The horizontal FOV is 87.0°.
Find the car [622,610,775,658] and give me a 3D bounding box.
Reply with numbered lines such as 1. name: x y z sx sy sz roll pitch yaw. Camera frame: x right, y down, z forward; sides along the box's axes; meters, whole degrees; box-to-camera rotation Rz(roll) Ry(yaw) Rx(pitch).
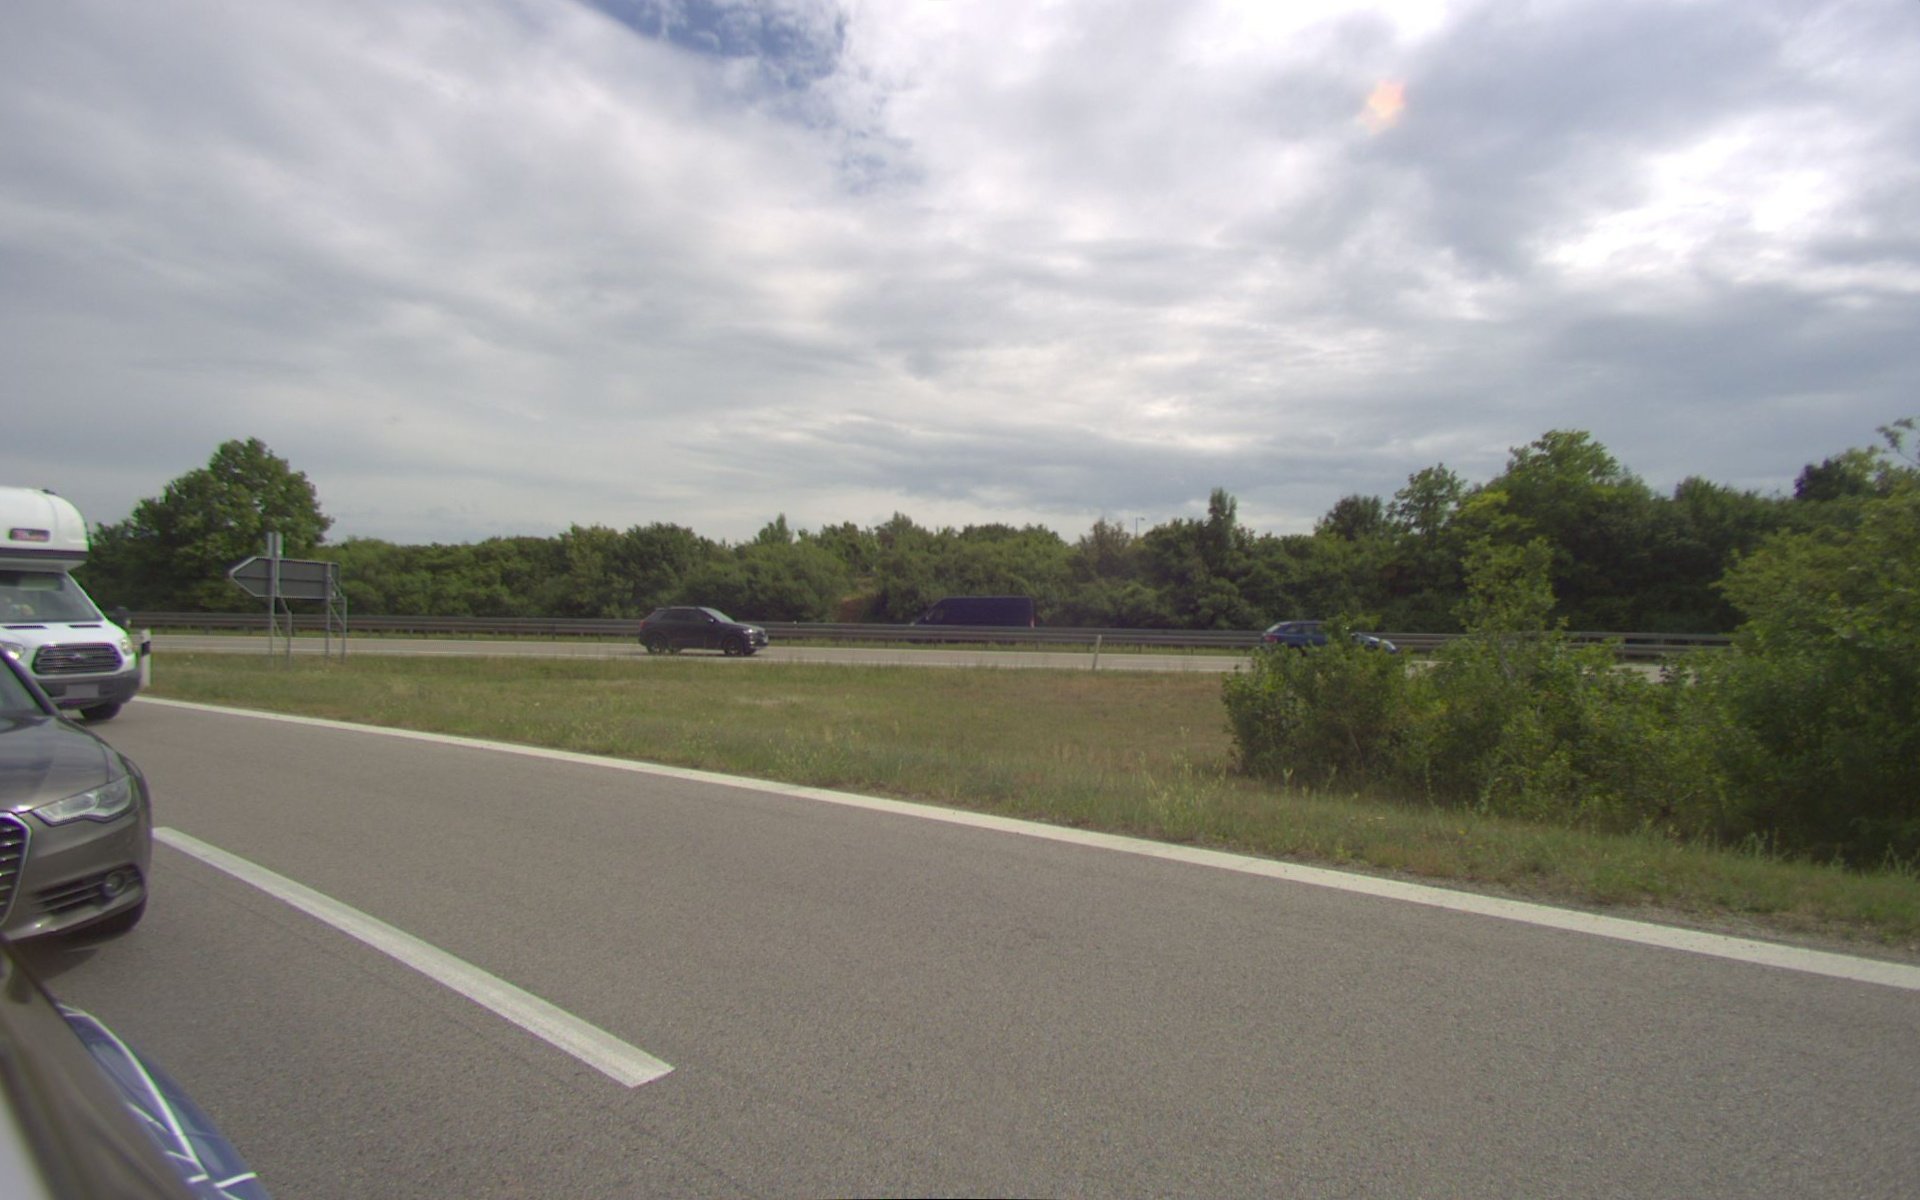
1. car: -8.496 1.092 33.077 4.405 1.434 1.996 1 0 7

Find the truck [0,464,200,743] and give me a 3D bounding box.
1. truck: -14.294 0.083 13.544 7.396 3.191 2.557 -1 0 14

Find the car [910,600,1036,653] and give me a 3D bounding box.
1. car: 0.678 1.244 48.805 5.896 2.453 2.138 -1 0 7

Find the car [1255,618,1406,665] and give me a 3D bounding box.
1. car: 12.412 1.363 34.126 4.406 1.434 1.995 1 0 8

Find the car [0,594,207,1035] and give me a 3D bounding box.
1. car: -5.306 0.770 4.655 4.534 1.526 1.973 -1 -1 40
